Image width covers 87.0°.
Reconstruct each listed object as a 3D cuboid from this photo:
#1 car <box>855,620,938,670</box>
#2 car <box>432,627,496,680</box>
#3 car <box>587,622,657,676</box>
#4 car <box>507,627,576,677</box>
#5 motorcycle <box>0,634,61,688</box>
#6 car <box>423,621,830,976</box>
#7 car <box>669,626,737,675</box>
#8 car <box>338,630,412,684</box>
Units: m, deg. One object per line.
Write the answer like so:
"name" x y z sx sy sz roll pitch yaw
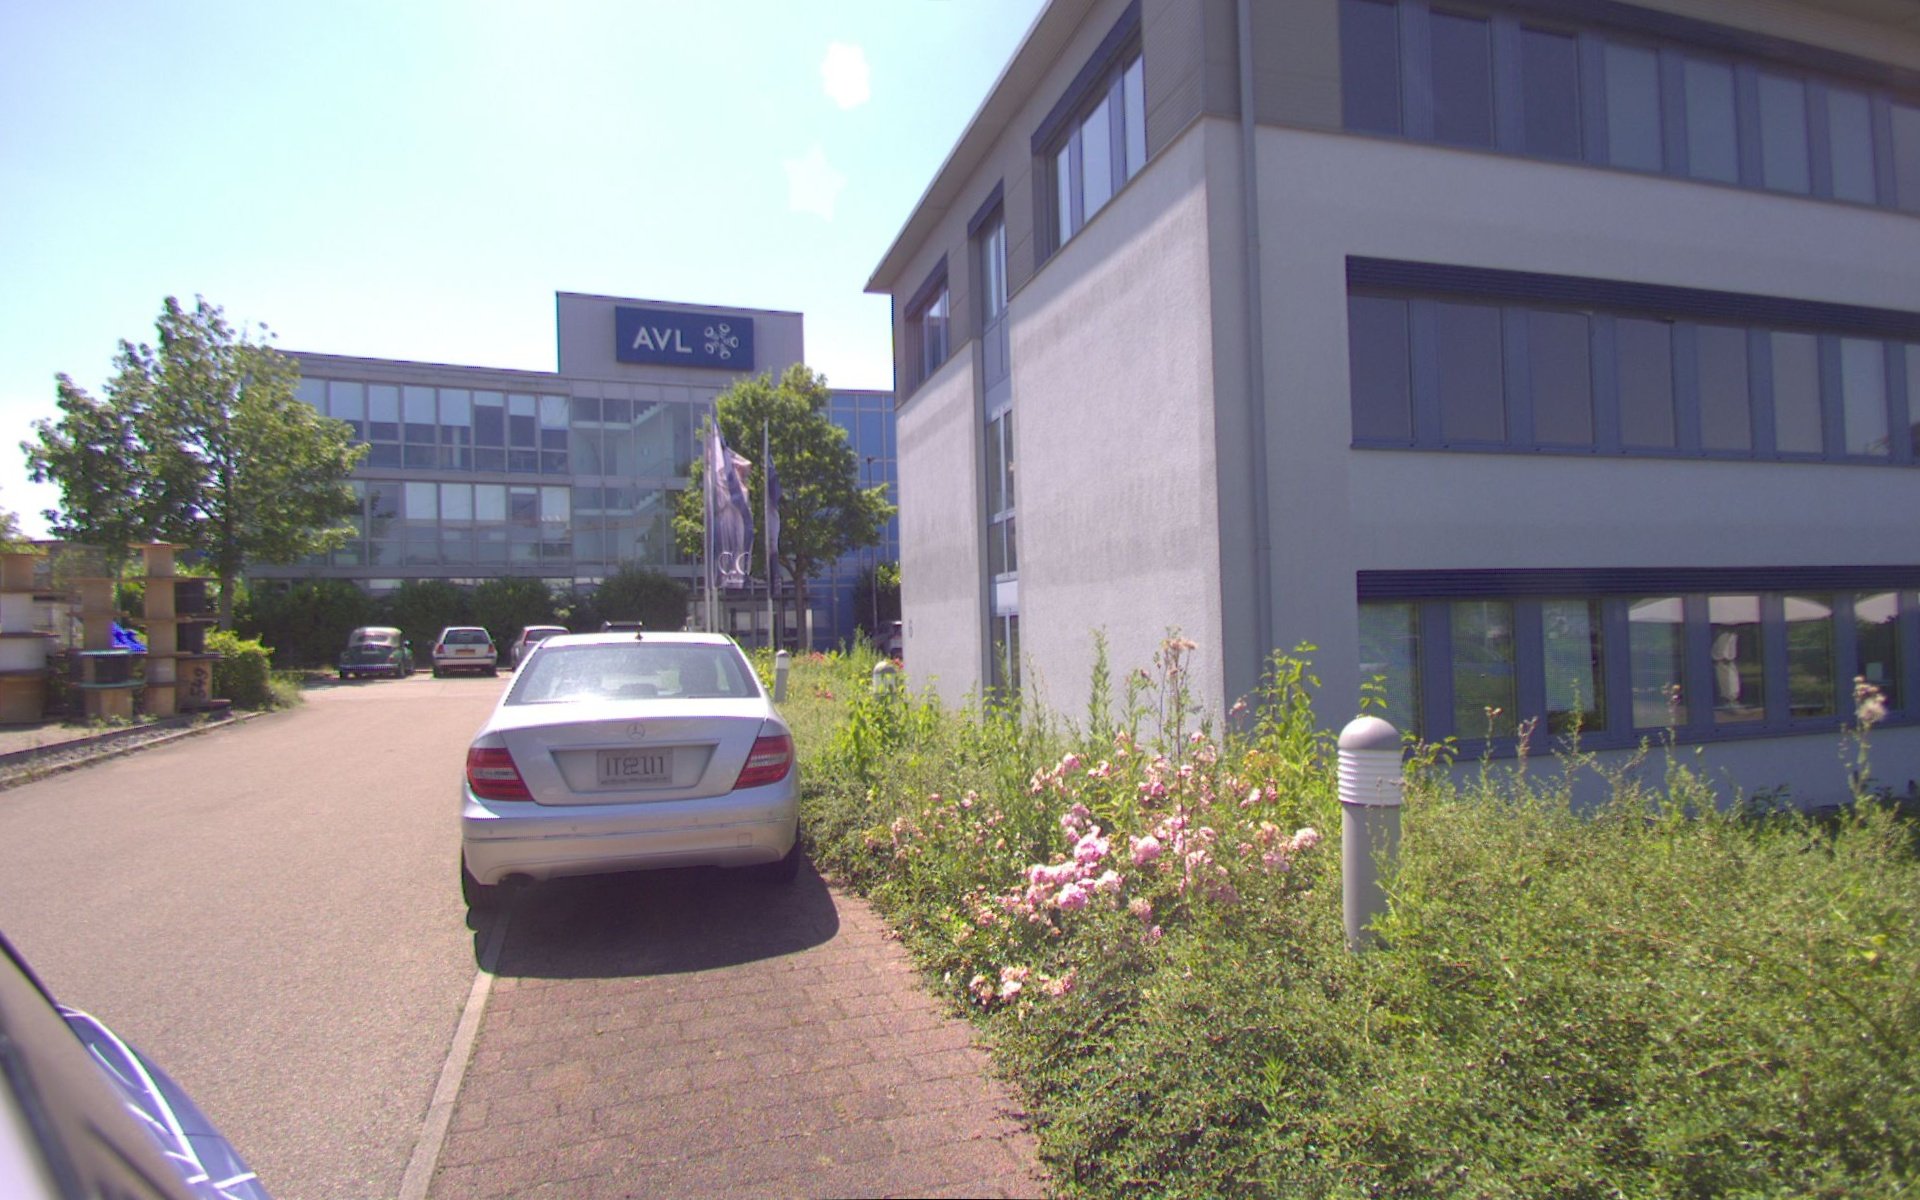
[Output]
"car" -2.331 1.564 35.921 1.802 1.650 4.185 0 -2 -21
"car" -15.069 1.582 30.691 1.615 1.463 3.612 1 -2 -27
"car" -10.987 1.533 32.720 1.906 1.615 3.872 1 -1 -22
"car" -13.279 1.599 32.030 1.702 1.463 3.612 1 -1 -27
"motorcycle" -24.465 1.550 26.212 0.859 1.269 2.845 0 -1 -22
"car" -2.038 0.885 6.461 1.705 1.468 4.160 0 -2 -17
"car" -8.546 1.616 33.401 1.701 1.495 4.411 0 -1 -20
"car" -17.113 1.621 29.731 1.496 1.457 3.430 1 -2 -24
